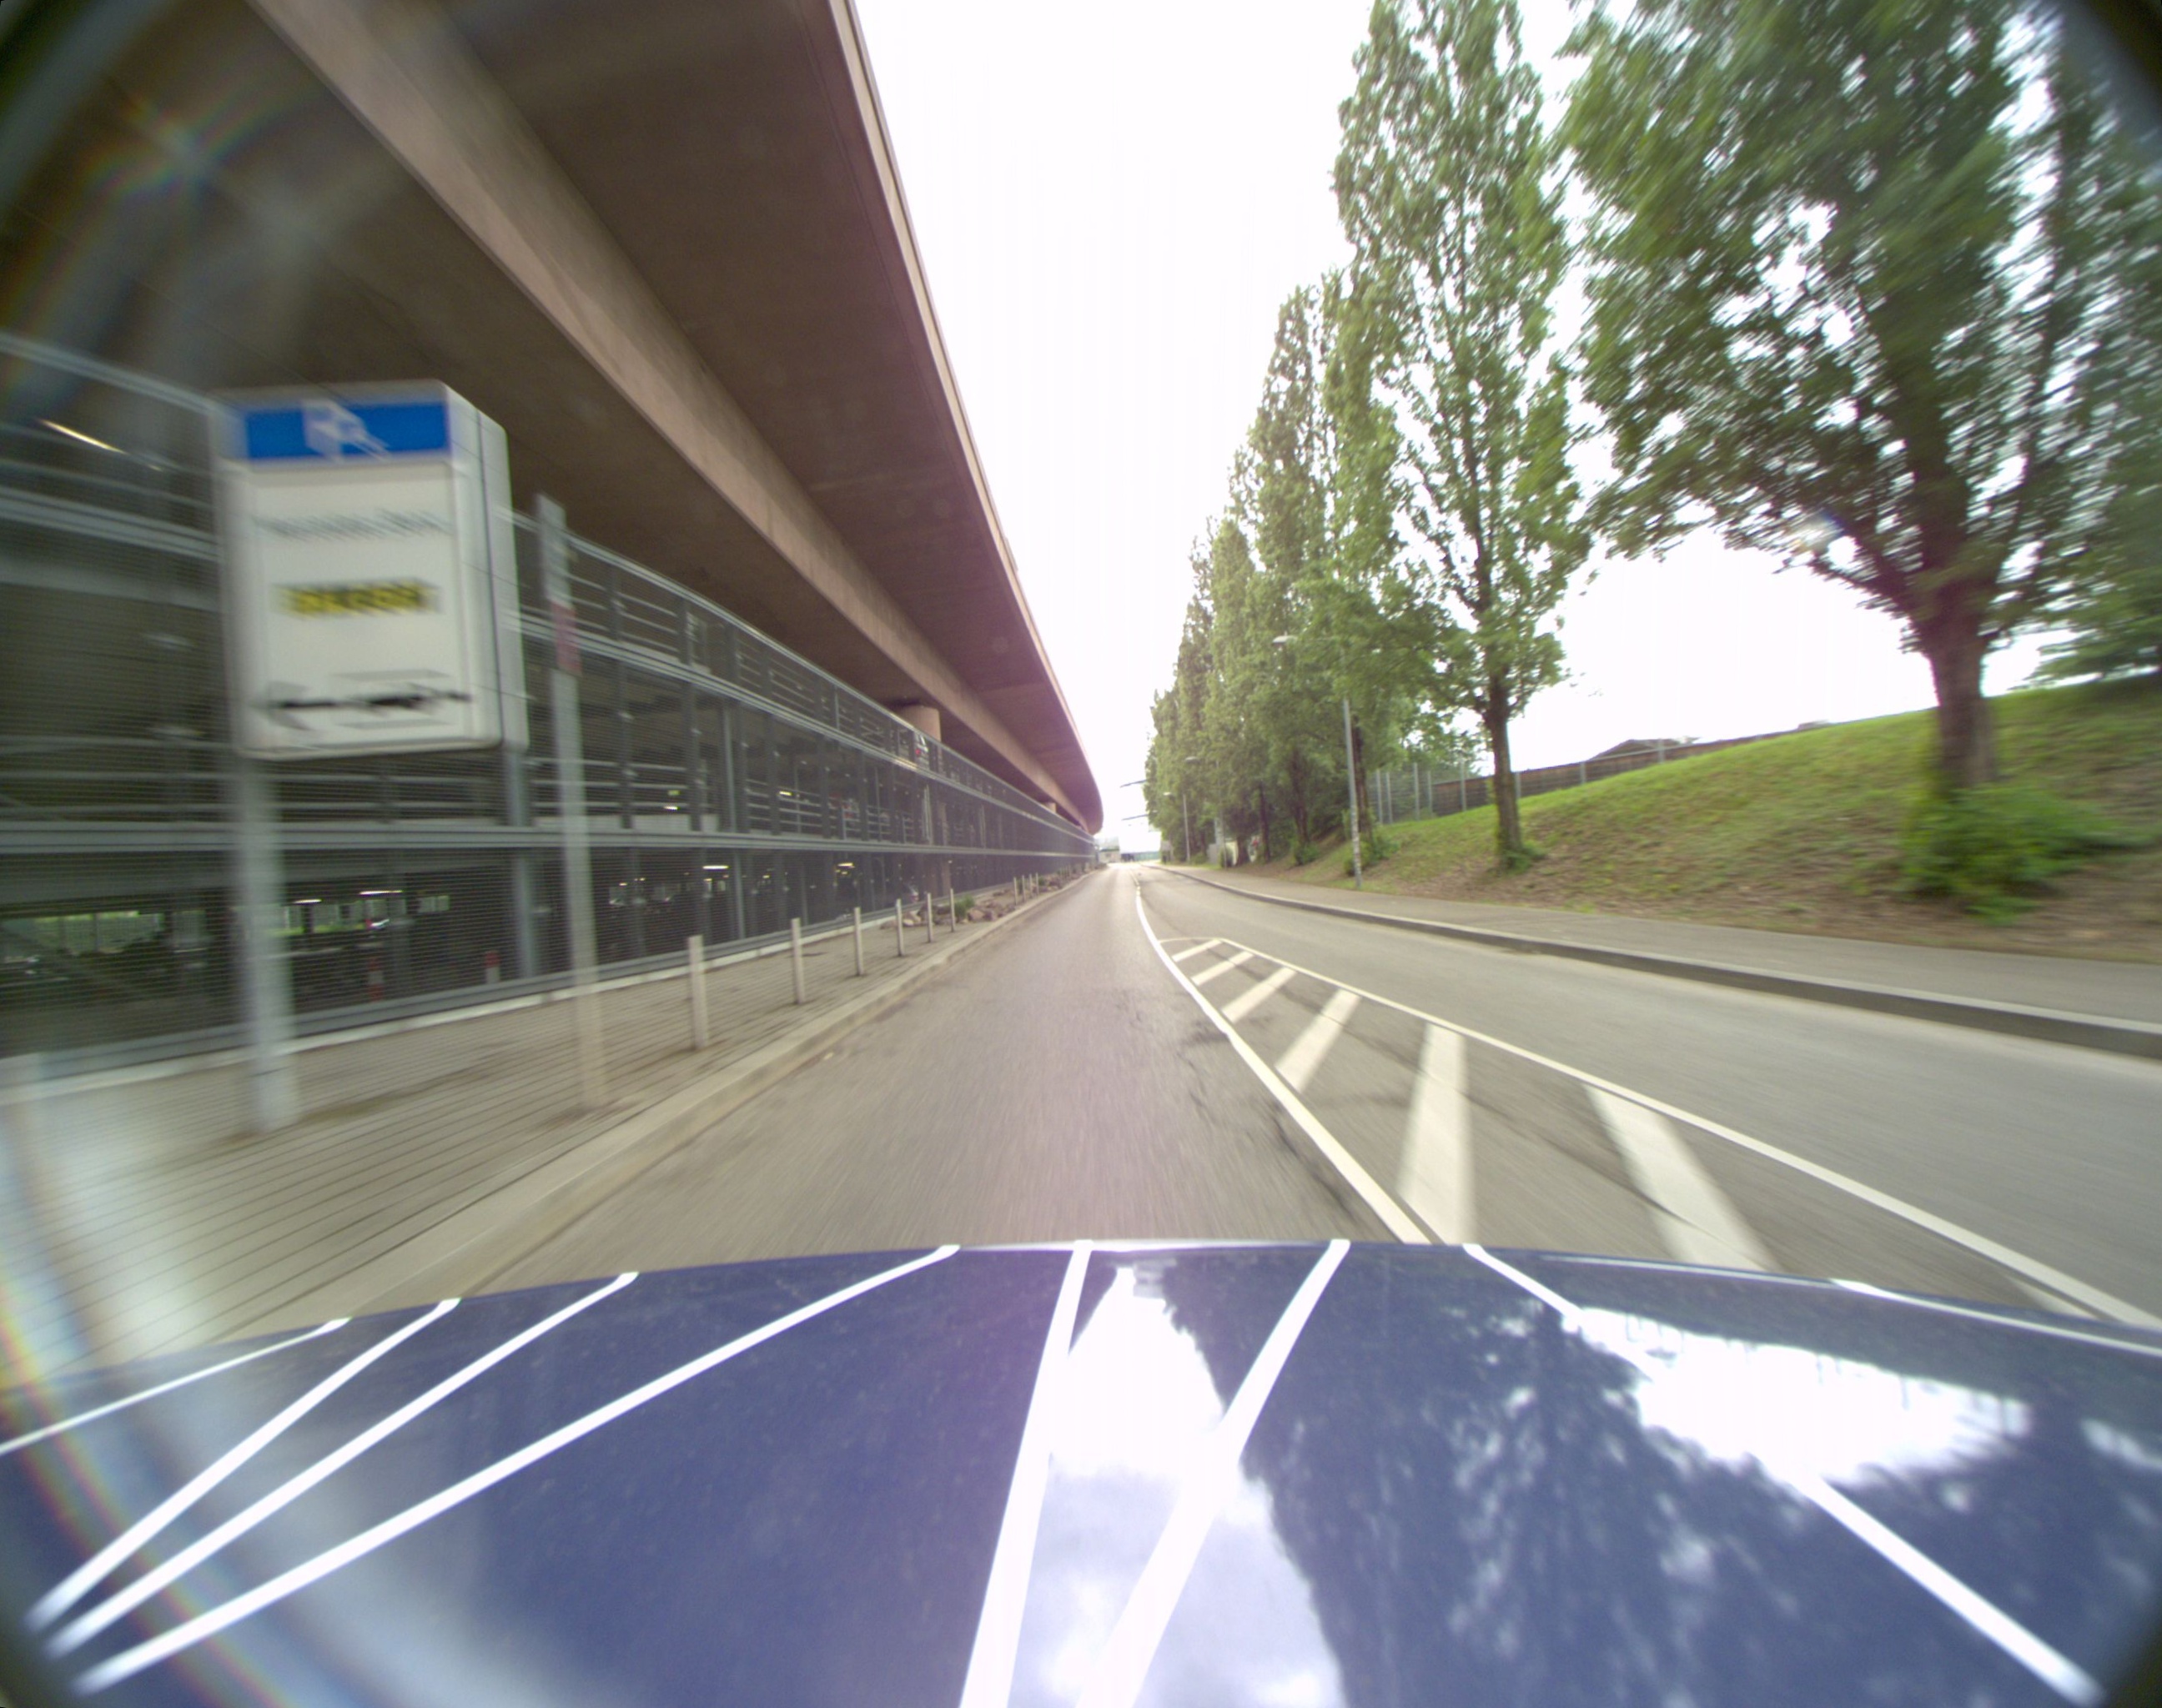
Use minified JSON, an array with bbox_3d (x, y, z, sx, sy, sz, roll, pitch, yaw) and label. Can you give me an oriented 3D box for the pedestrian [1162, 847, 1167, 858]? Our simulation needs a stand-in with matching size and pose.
[{"bbox_3d":[13.504,-0.251,122.626,0.662,1.882,0.737,-2,1,4],"label":"pedestrian"}]
